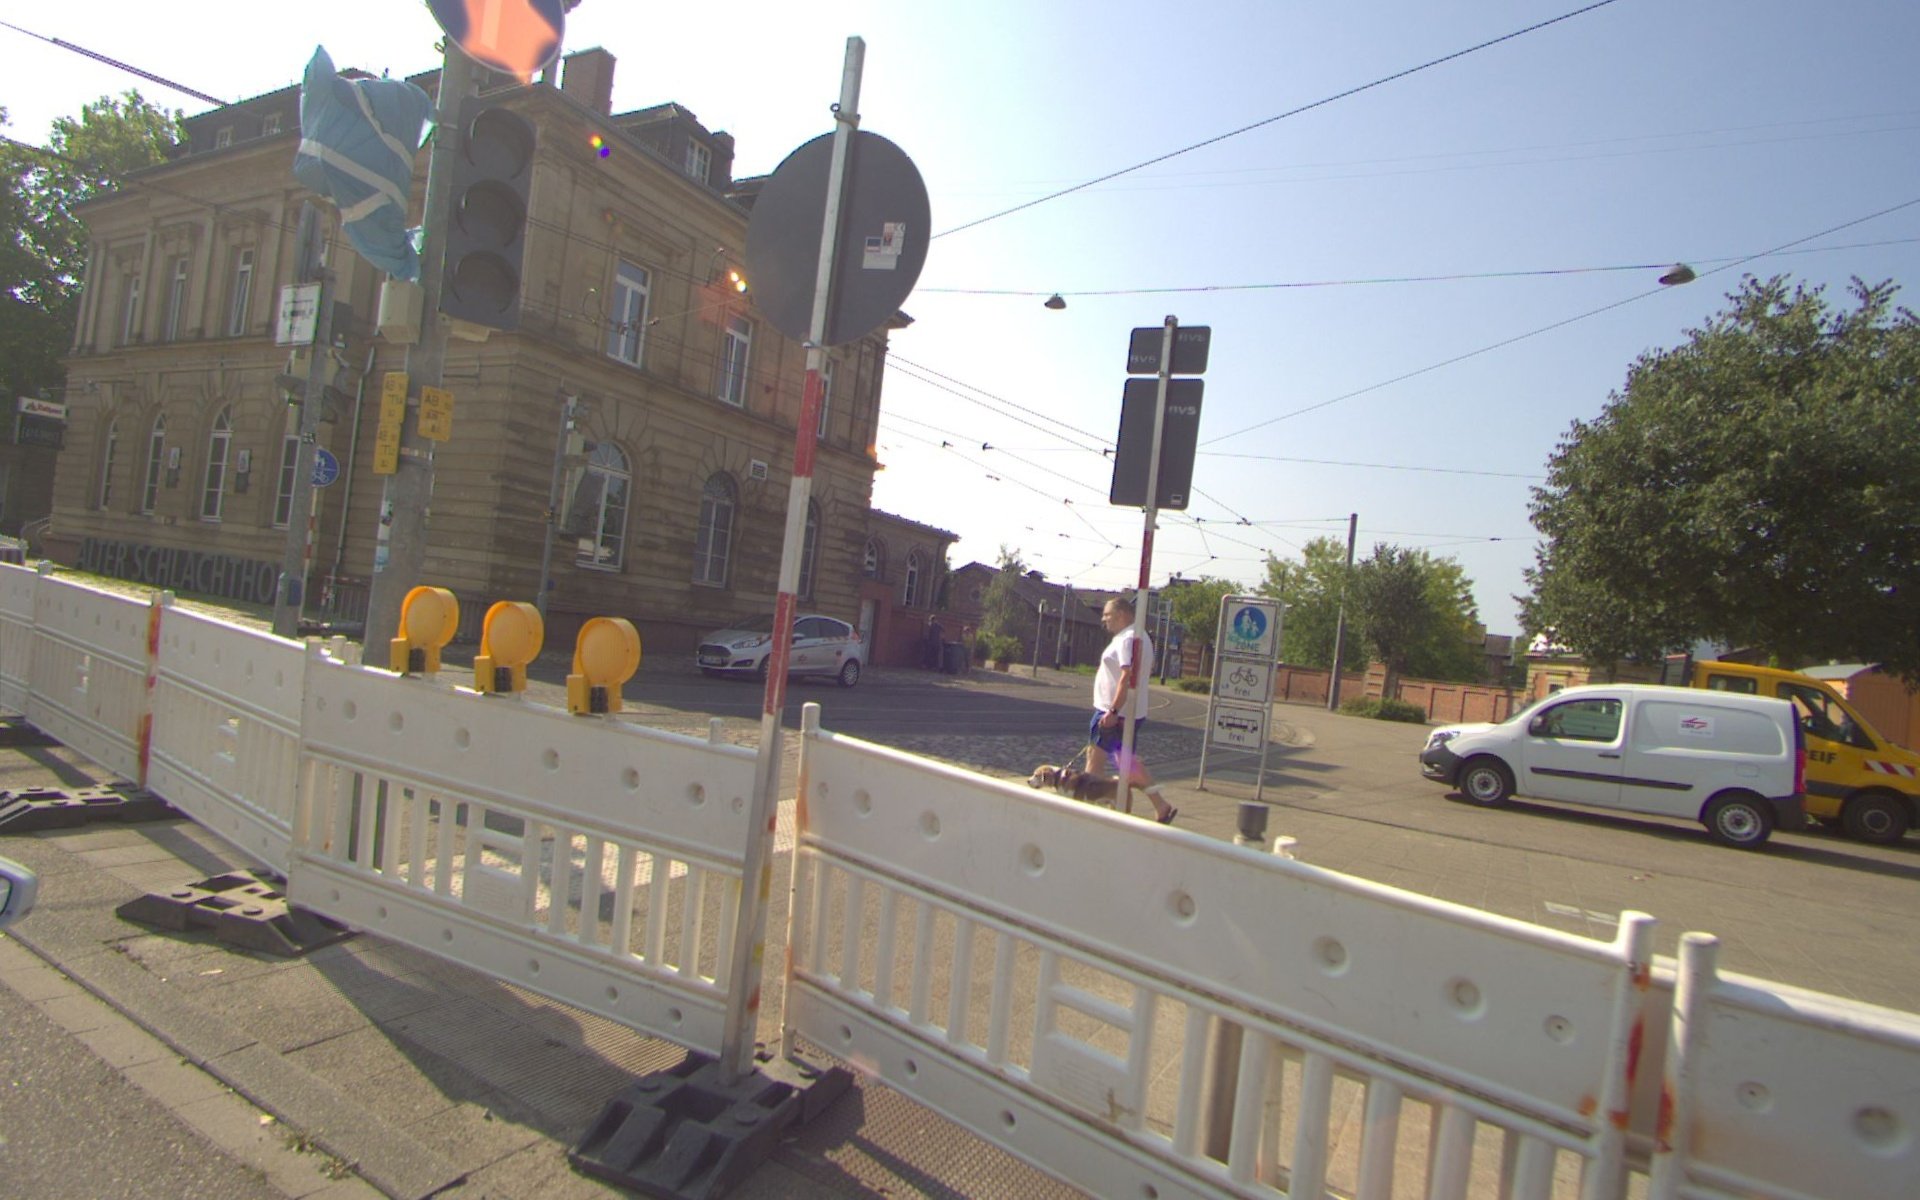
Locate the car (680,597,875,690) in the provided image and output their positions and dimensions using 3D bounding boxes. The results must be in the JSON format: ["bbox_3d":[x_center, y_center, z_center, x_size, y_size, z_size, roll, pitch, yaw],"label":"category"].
[{"bbox_3d":[-3.549,0.920,20.342,1.636,1.555,4.007,6,-1,28],"label":"car"}]

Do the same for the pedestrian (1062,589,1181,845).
[{"bbox_3d":[1.237,0.853,7.641,0.658,1.757,0.870,6,-1,11],"label":"pedestrian"}]

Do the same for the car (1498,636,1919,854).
[{"bbox_3d":[11.620,2.117,15.688,5.392,2.451,2.264,6,-2,26],"label":"car"}]

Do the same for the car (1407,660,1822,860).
[{"bbox_3d":[8.337,1.931,13.206,4.157,1.805,1.905,5,-1,33],"label":"car"}]

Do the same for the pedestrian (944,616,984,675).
[{"bbox_3d":[0.140,1.576,34.541,1.018,1.886,0.671,6,-1,16],"label":"pedestrian"}]

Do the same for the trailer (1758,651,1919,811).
[{"bbox_3d":[19.941,2.858,22.166,2.469,3.083,4.122,5,-2,23],"label":"trailer"}]

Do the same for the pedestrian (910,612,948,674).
[{"bbox_3d":[-1.011,1.408,32.860,0.854,1.886,0.670,6,-1,30],"label":"pedestrian"}]
